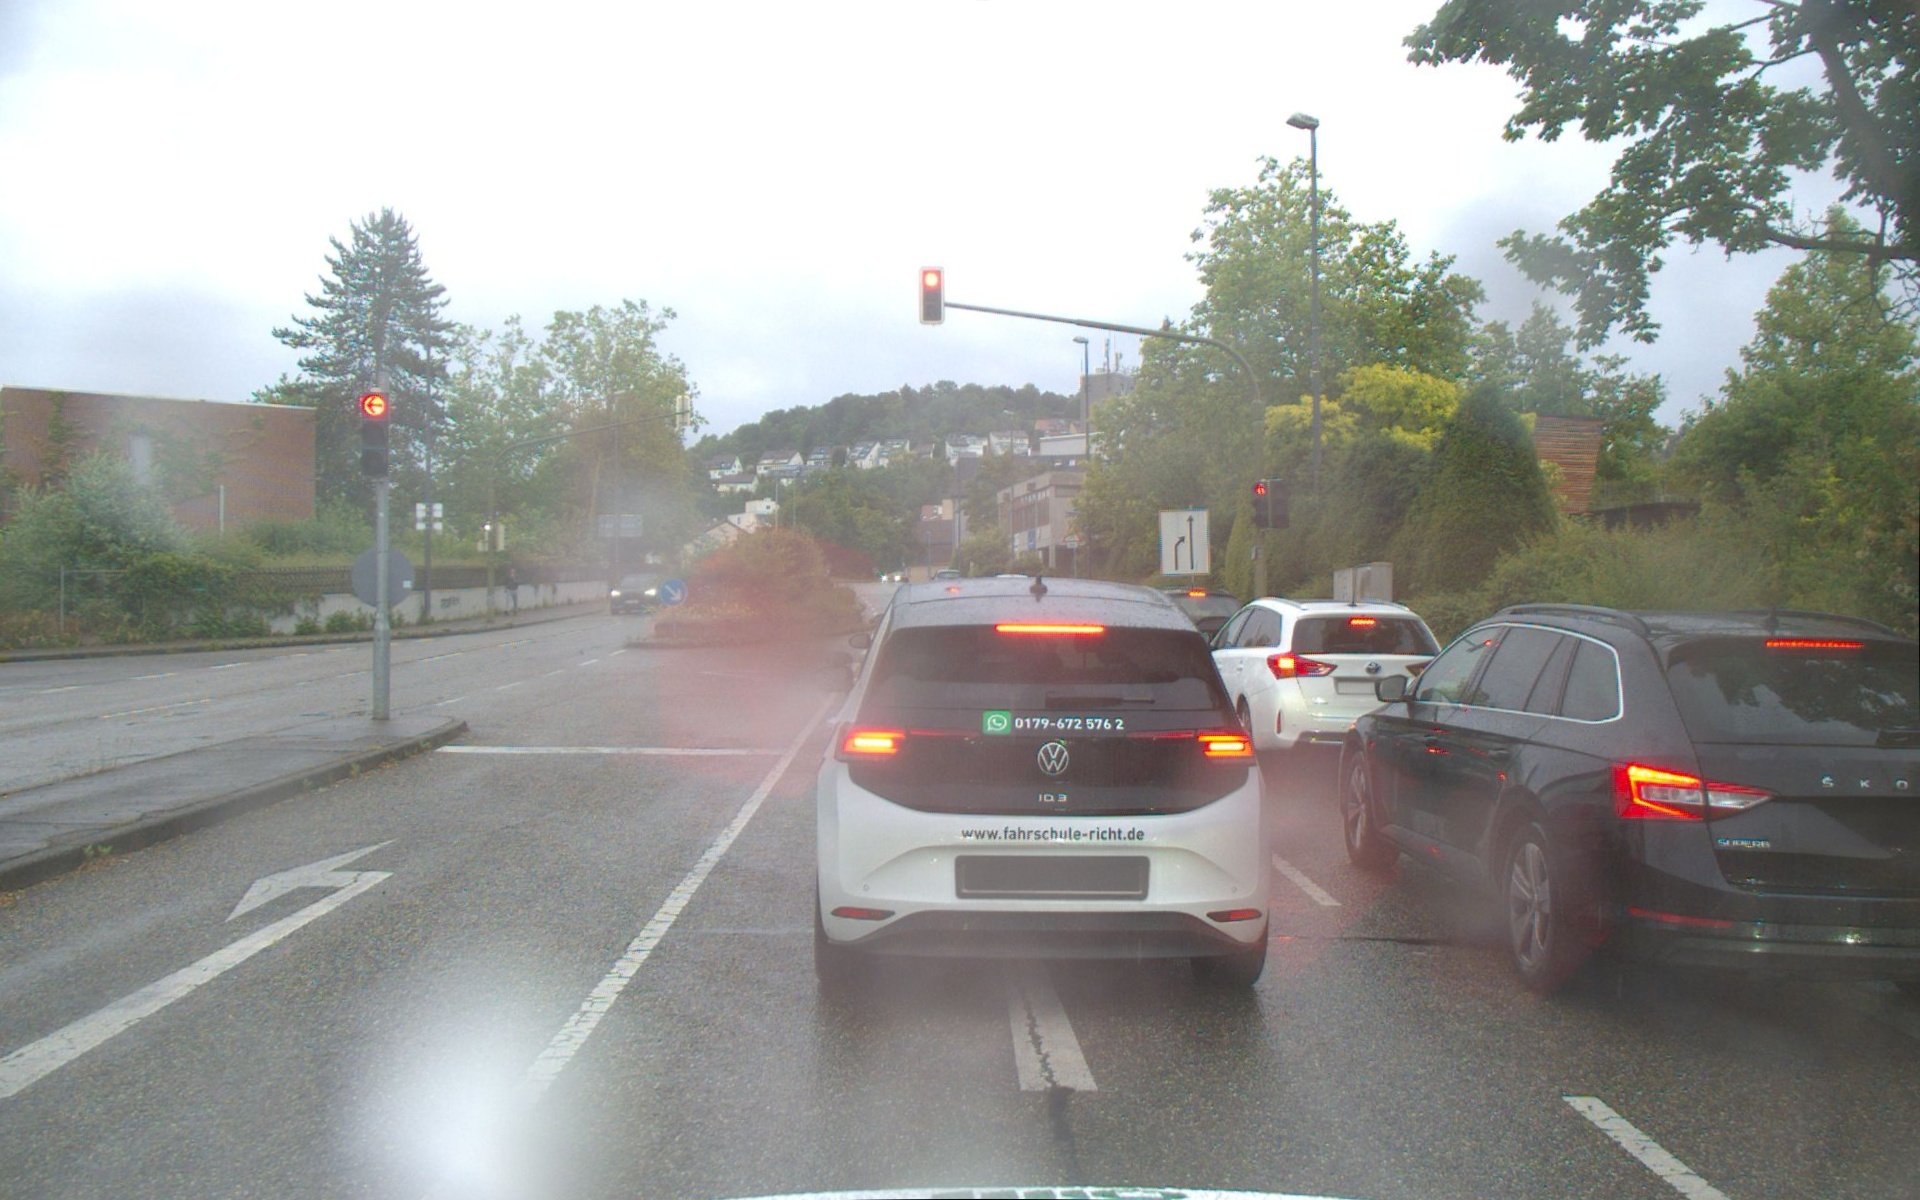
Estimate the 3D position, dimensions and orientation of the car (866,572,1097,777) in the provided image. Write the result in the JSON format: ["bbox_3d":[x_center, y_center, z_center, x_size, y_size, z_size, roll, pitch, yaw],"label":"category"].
[{"bbox_3d":[0.122,0.571,15.208,1.800,1.582,4.174,1,1,-1],"label":"car"}]

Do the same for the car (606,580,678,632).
[{"bbox_3d":[-12.172,0.217,63.536,1.953,1.836,3.999,-3,0,-1],"label":"car"}]

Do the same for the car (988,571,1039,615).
[{"bbox_3d":[1.866,-0.228,58.761,1.549,1.492,3.998,-1,0,-2],"label":"car"}]

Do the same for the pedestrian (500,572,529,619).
[{"bbox_3d":[-15.629,-0.150,58.056,0.744,1.595,0.825,-2,0,-2],"label":"pedestrian"}]

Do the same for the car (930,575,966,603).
[{"bbox_3d":[-0.672,-0.628,89.121,1.726,1.443,3.747,-1,1,-3],"label":"car"}]

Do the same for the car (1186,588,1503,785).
[{"bbox_3d":[3.300,0.663,15.031,1.800,1.492,4.116,1,1,-1],"label":"car"}]

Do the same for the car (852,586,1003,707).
[{"bbox_3d":[-0.435,0.549,21.974,1.800,1.424,3.830,1,1,-1],"label":"car"}]

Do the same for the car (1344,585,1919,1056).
[{"bbox_3d":[3.143,0.704,7.512,1.800,1.492,4.350,1,1,1],"label":"car"}]

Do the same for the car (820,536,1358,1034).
[{"bbox_3d":[0.389,0.611,7.941,1.800,1.657,4.614,1,1,-1],"label":"car"}]

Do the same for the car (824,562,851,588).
[{"bbox_3d":[-10.367,-2.085,140.293,1.953,2.049,3.999,1,-1,-1],"label":"car"}]

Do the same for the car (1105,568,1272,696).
[{"bbox_3d":[3.132,0.418,23.385,1.739,1.609,3.999,1,0,-1],"label":"car"}]
